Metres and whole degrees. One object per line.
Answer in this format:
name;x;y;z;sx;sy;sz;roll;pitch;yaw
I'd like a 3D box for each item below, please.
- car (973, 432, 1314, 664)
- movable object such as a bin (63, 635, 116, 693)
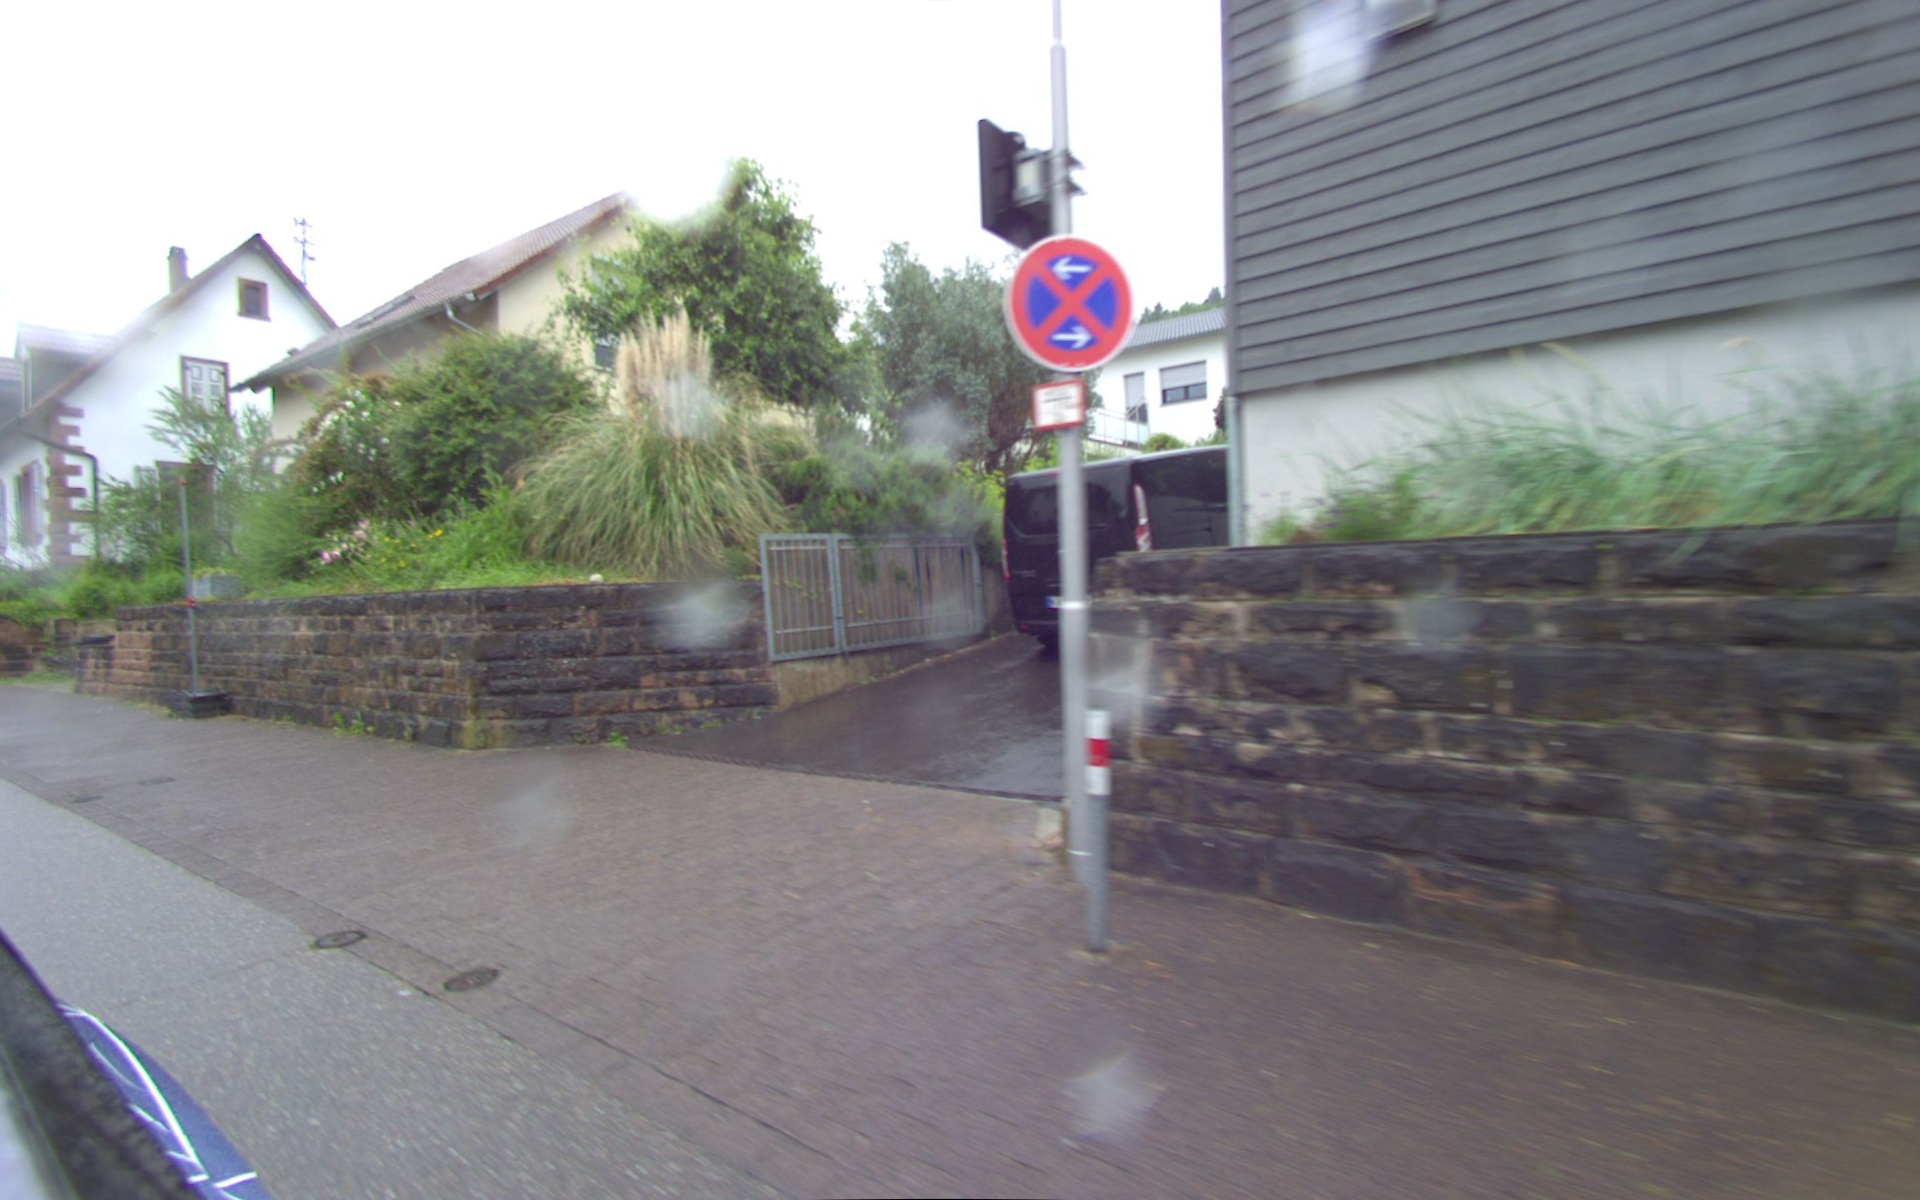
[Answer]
car;2.219;-0.702;11.326;1.998;1.978;3.952;-1;9;39
movable object such as a bin;-14.956;1.083;17.387;0.543;0.937;0.533;-1;2;34
